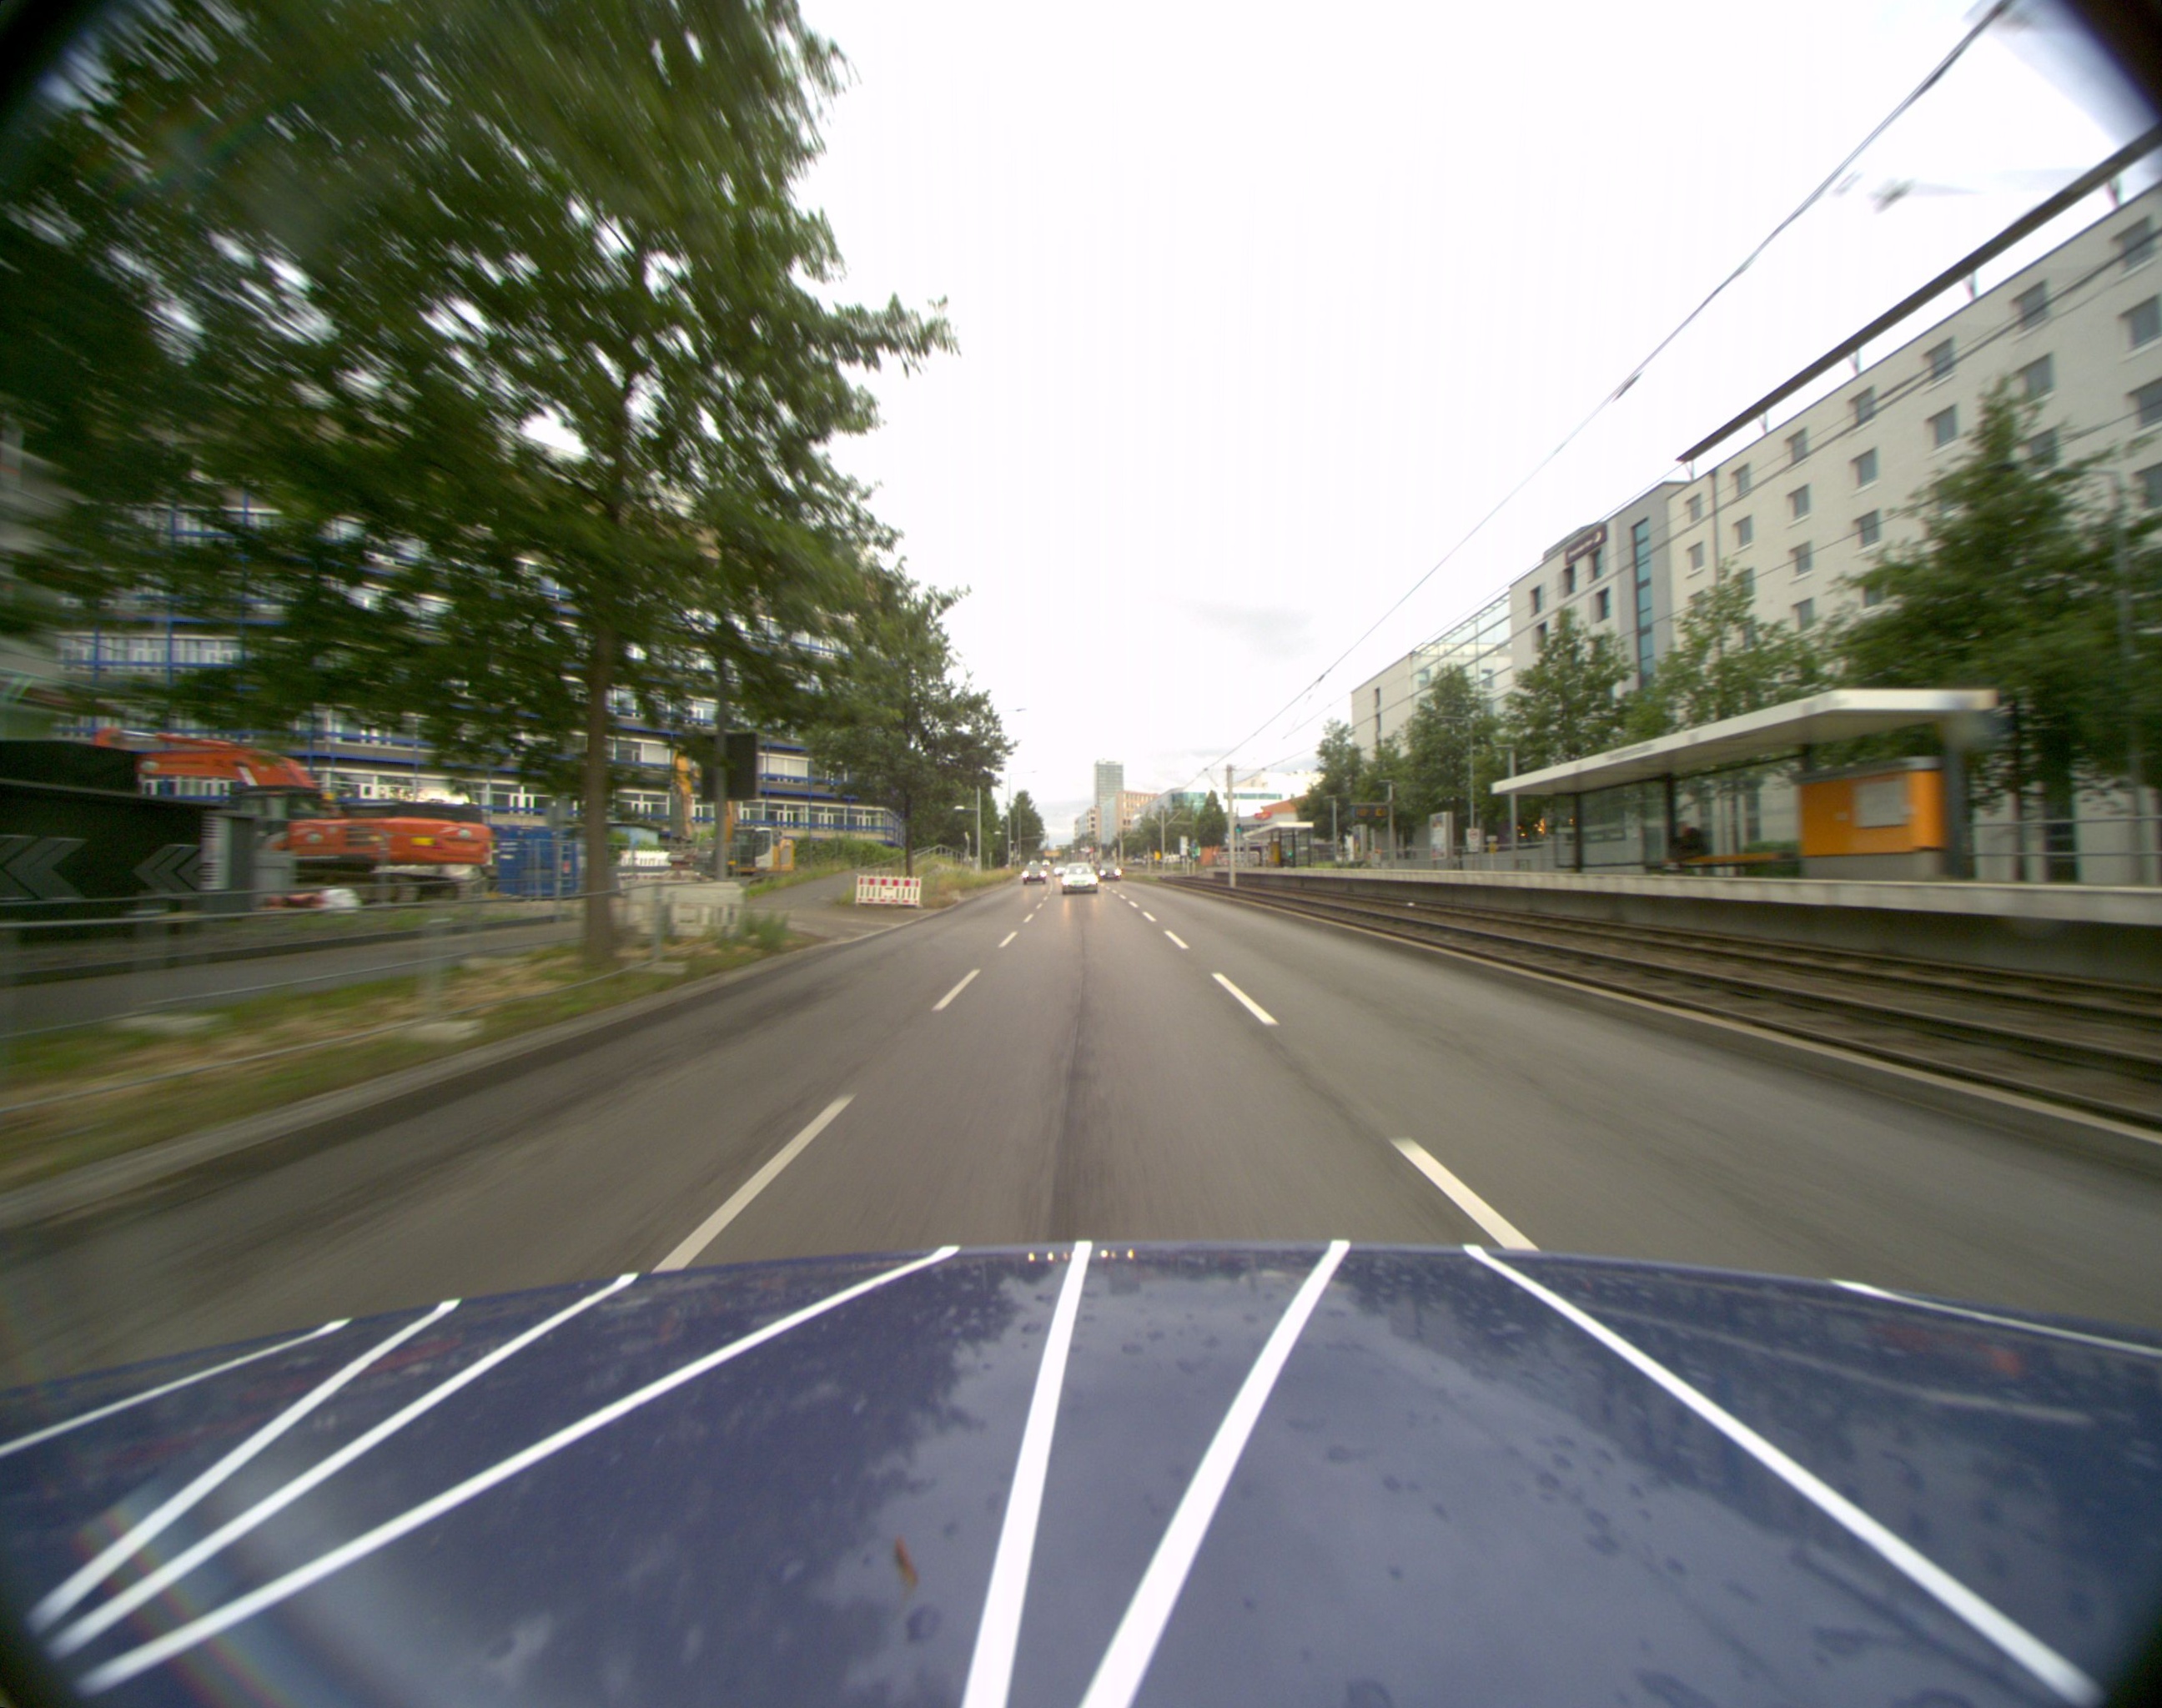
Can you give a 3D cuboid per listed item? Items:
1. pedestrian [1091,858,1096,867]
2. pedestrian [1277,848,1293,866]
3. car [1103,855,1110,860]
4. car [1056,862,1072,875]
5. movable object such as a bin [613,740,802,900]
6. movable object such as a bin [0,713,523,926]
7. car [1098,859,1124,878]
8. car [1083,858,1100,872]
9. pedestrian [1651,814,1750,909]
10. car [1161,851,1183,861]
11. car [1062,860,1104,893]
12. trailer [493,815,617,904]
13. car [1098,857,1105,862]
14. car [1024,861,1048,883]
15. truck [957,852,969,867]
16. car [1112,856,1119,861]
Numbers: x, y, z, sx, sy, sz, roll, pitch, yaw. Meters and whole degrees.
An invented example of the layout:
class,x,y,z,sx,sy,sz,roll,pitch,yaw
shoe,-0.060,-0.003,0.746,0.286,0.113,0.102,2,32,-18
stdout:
class,x,y,z,sx,sy,sz,roll,pitch,yaw
pedestrian,2.099,1.427,127.884,0.704,1.641,0.648,-2,0,-32
pedestrian,14.392,0.214,53.596,0.964,1.292,0.684,-1,0,-2
car,8.072,1.142,242.654,1.859,1.419,4.386,1,0,-5
car,-2.170,1.750,94.468,1.781,1.551,3.739,-2,0,-3
movable object such as a bin,-15.154,-1.247,31.914,3.298,5.652,8.762,-2,1,0
movable object such as a bin,-22.868,-0.886,20.745,12.174,5.231,3.788,0,1,-2
car,2.451,1.192,63.195,1.799,1.492,3.999,-2,0,-3
car,1.260,1.351,93.836,1.781,1.670,4.129,-2,0,-3
pedestrian,13.848,0.160,17.031,1.129,2.002,1.270,-2,1,0
car,25.279,0.596,211.027,5.489,2.614,2.275,-3,1,-20
car,0.042,1.081,38.136,1.804,1.533,4.373,-2,0,-3
trailer,-20.719,0.207,30.416,2.649,3.025,7.483,-3,1,-24
car,6.808,1.865,257.148,1.999,1.764,4.387,-1,0,-3
car,-3.637,1.430,61.764,1.816,1.660,4.547,-2,0,-3
truck,-20.006,0.883,129.130,1.751,2.503,3.997,-3,1,-6
car,10.084,1.451,221.757,1.733,1.415,3.778,-1,0,-4
